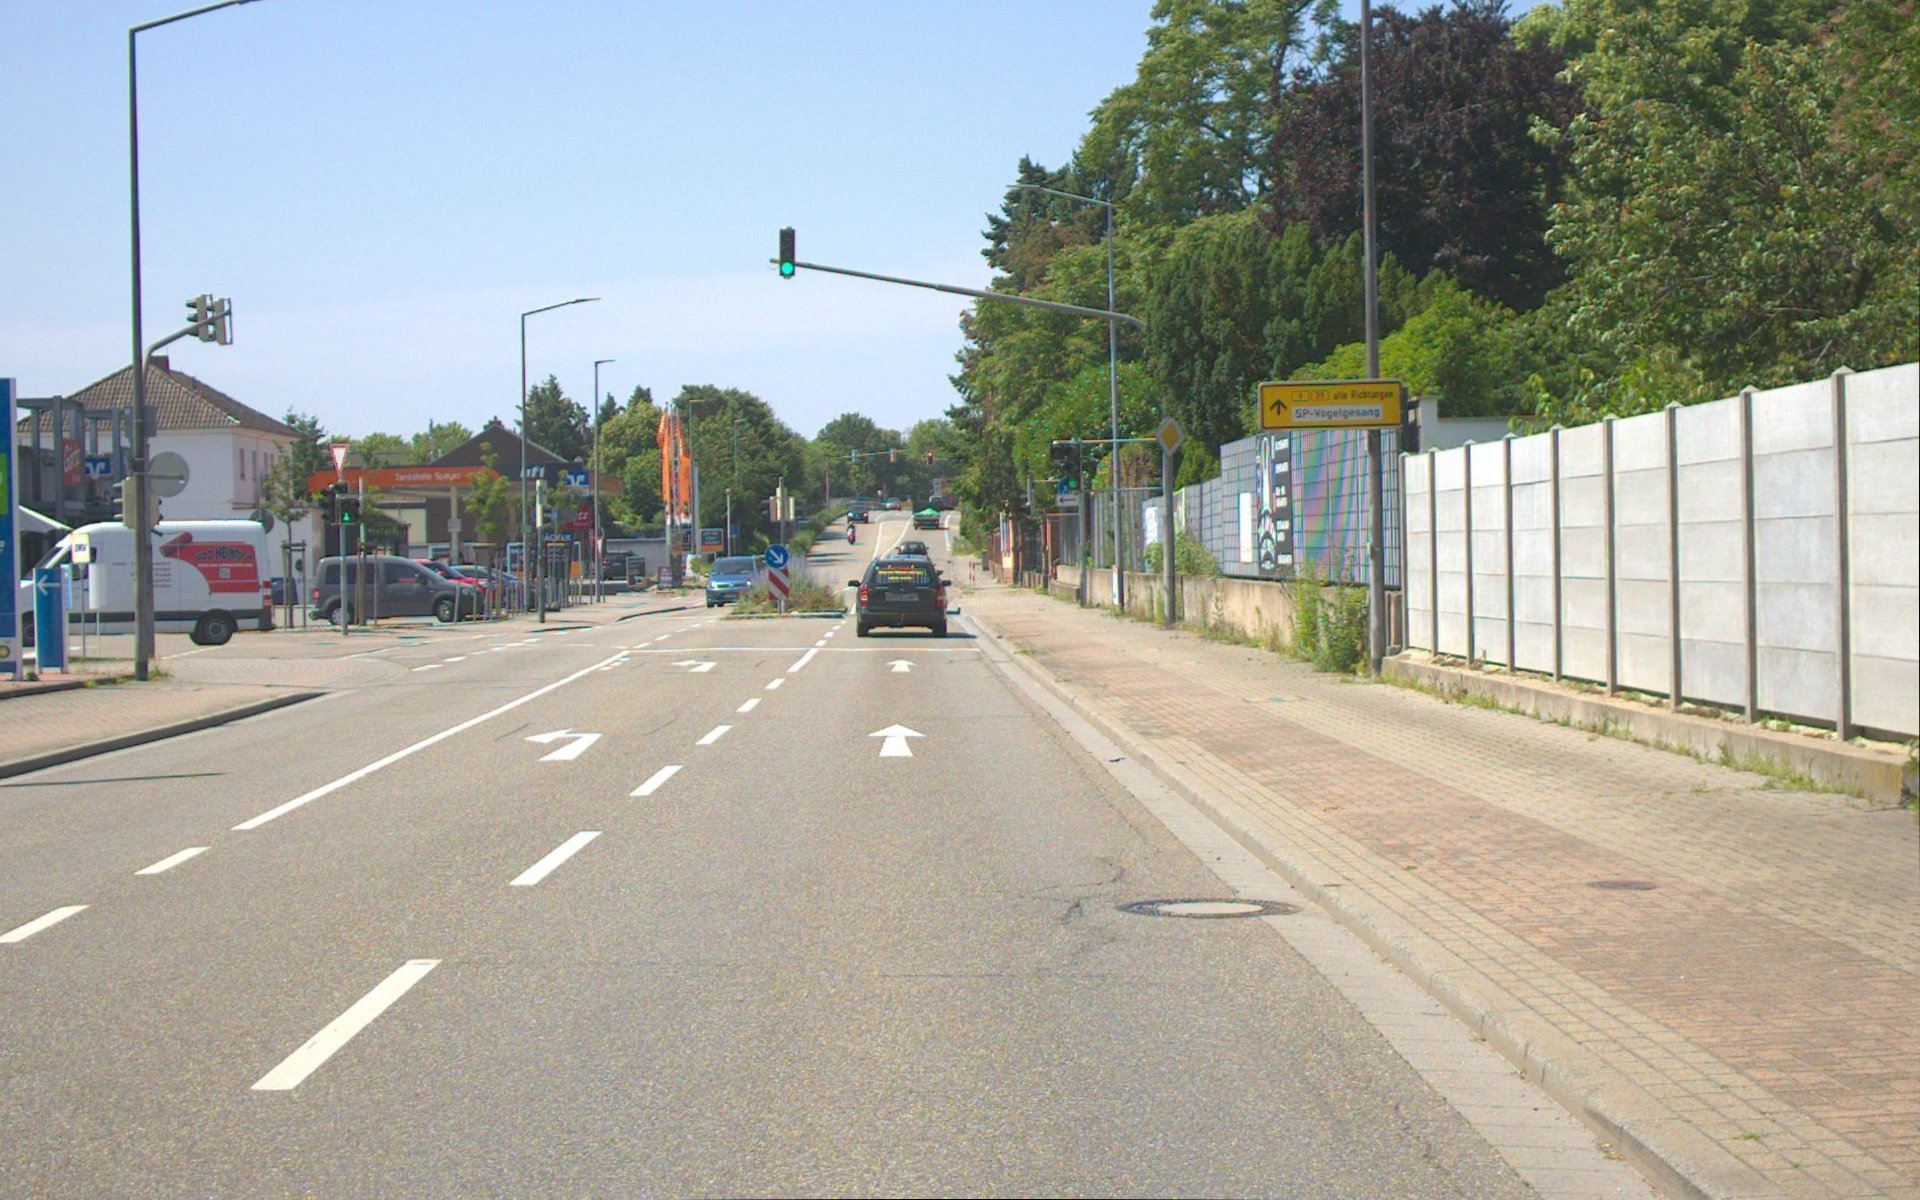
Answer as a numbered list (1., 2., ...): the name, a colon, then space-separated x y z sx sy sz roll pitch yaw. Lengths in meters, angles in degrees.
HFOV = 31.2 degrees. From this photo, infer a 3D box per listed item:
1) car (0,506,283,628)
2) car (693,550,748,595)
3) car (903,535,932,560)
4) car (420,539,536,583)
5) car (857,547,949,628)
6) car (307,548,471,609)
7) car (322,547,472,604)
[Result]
1. car: -17.207 -0.649 71.298 5.926 2.414 2.000 1 -1 -21
2. car: -7.742 -0.898 111.453 1.586 1.388 3.472 -1 1 -1
3. car: -2.473 -3.067 200.988 1.665 1.450 3.472 -1 1 -1
4. car: -17.223 -1.384 122.922 3.986 1.503 1.555 -1 1 -4
5. car: -1.074 -0.249 64.479 1.665 1.450 3.472 -1 1 -1
6. car: -14.576 -0.557 87.956 3.986 1.503 1.555 -1 1 -4
7. car: -15.639 -0.690 95.609 3.986 1.503 1.555 -1 1 -4
